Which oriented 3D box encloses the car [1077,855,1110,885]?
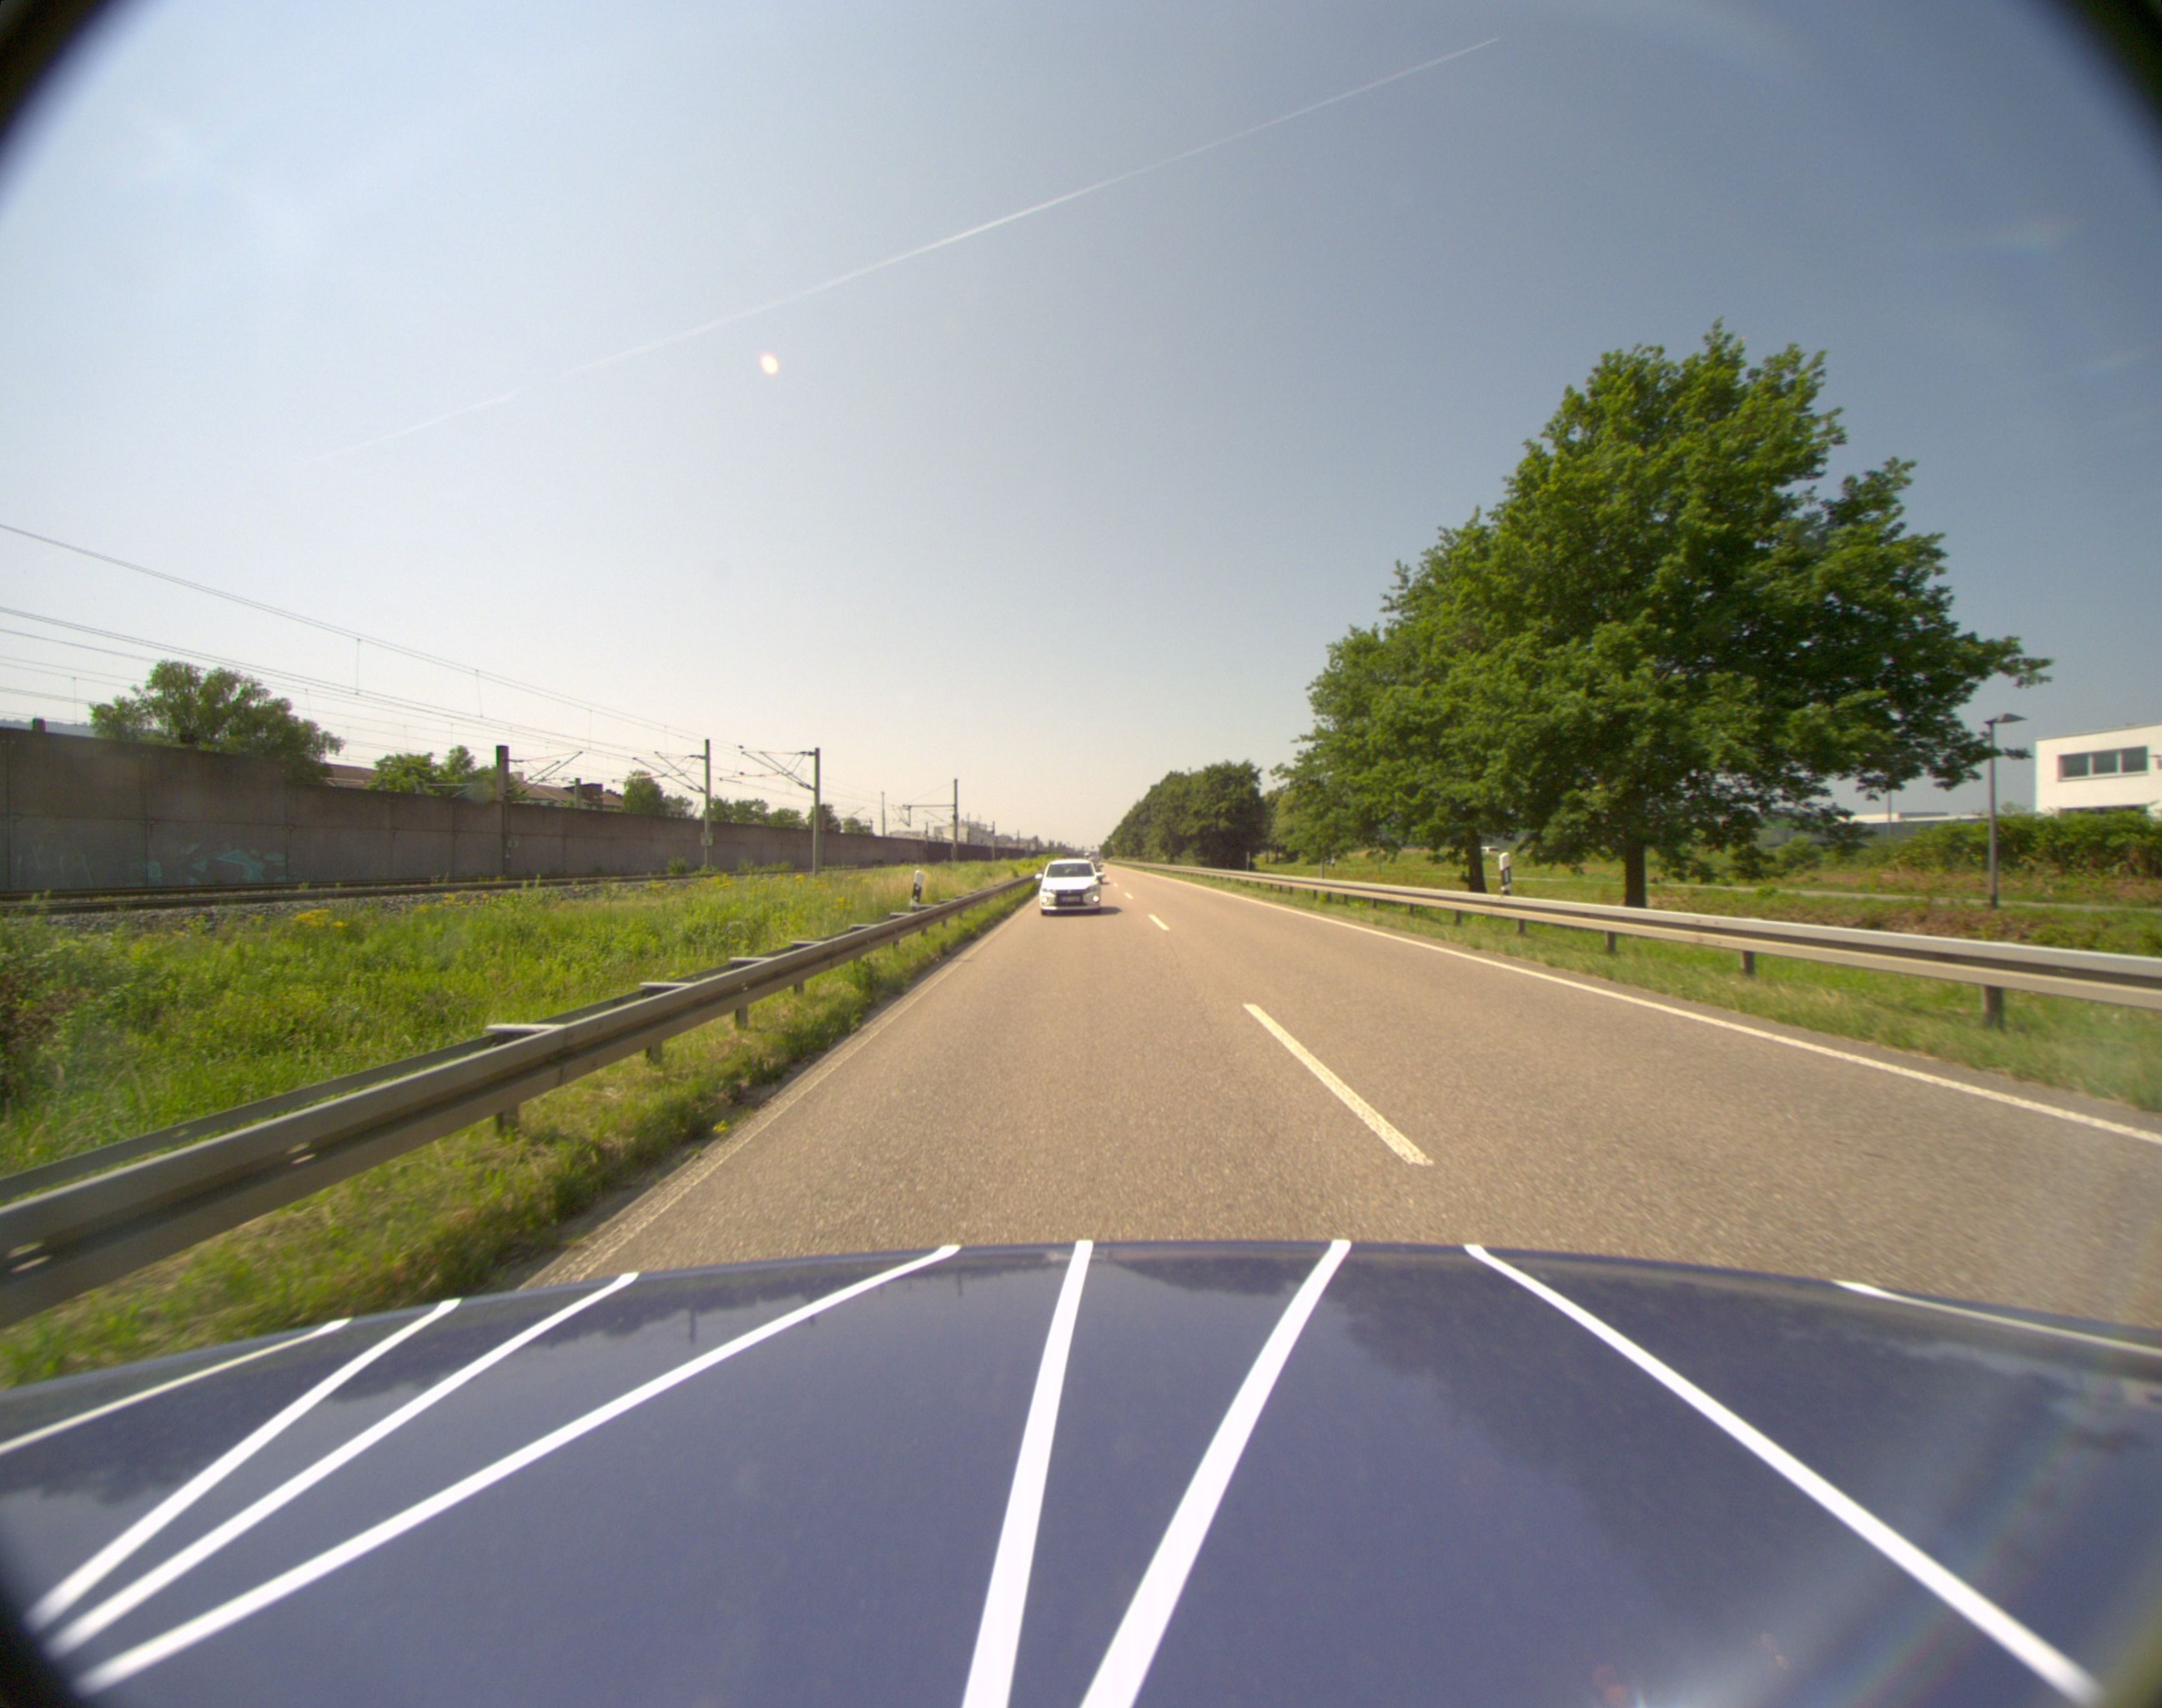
[{"bbox_3d":[0.645,0.851,41.849,1.711,1.471,4.155,-2,0,0],"label":"car"}]

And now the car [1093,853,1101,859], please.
[{"bbox_3d":[3.644,0.476,176.670,1.711,1.471,4.155,-2,0,0],"label":"car"}]

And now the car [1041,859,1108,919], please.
[{"bbox_3d":[-0.176,0.915,21.780,1.701,1.471,4.155,-2,0,0],"label":"car"}]
